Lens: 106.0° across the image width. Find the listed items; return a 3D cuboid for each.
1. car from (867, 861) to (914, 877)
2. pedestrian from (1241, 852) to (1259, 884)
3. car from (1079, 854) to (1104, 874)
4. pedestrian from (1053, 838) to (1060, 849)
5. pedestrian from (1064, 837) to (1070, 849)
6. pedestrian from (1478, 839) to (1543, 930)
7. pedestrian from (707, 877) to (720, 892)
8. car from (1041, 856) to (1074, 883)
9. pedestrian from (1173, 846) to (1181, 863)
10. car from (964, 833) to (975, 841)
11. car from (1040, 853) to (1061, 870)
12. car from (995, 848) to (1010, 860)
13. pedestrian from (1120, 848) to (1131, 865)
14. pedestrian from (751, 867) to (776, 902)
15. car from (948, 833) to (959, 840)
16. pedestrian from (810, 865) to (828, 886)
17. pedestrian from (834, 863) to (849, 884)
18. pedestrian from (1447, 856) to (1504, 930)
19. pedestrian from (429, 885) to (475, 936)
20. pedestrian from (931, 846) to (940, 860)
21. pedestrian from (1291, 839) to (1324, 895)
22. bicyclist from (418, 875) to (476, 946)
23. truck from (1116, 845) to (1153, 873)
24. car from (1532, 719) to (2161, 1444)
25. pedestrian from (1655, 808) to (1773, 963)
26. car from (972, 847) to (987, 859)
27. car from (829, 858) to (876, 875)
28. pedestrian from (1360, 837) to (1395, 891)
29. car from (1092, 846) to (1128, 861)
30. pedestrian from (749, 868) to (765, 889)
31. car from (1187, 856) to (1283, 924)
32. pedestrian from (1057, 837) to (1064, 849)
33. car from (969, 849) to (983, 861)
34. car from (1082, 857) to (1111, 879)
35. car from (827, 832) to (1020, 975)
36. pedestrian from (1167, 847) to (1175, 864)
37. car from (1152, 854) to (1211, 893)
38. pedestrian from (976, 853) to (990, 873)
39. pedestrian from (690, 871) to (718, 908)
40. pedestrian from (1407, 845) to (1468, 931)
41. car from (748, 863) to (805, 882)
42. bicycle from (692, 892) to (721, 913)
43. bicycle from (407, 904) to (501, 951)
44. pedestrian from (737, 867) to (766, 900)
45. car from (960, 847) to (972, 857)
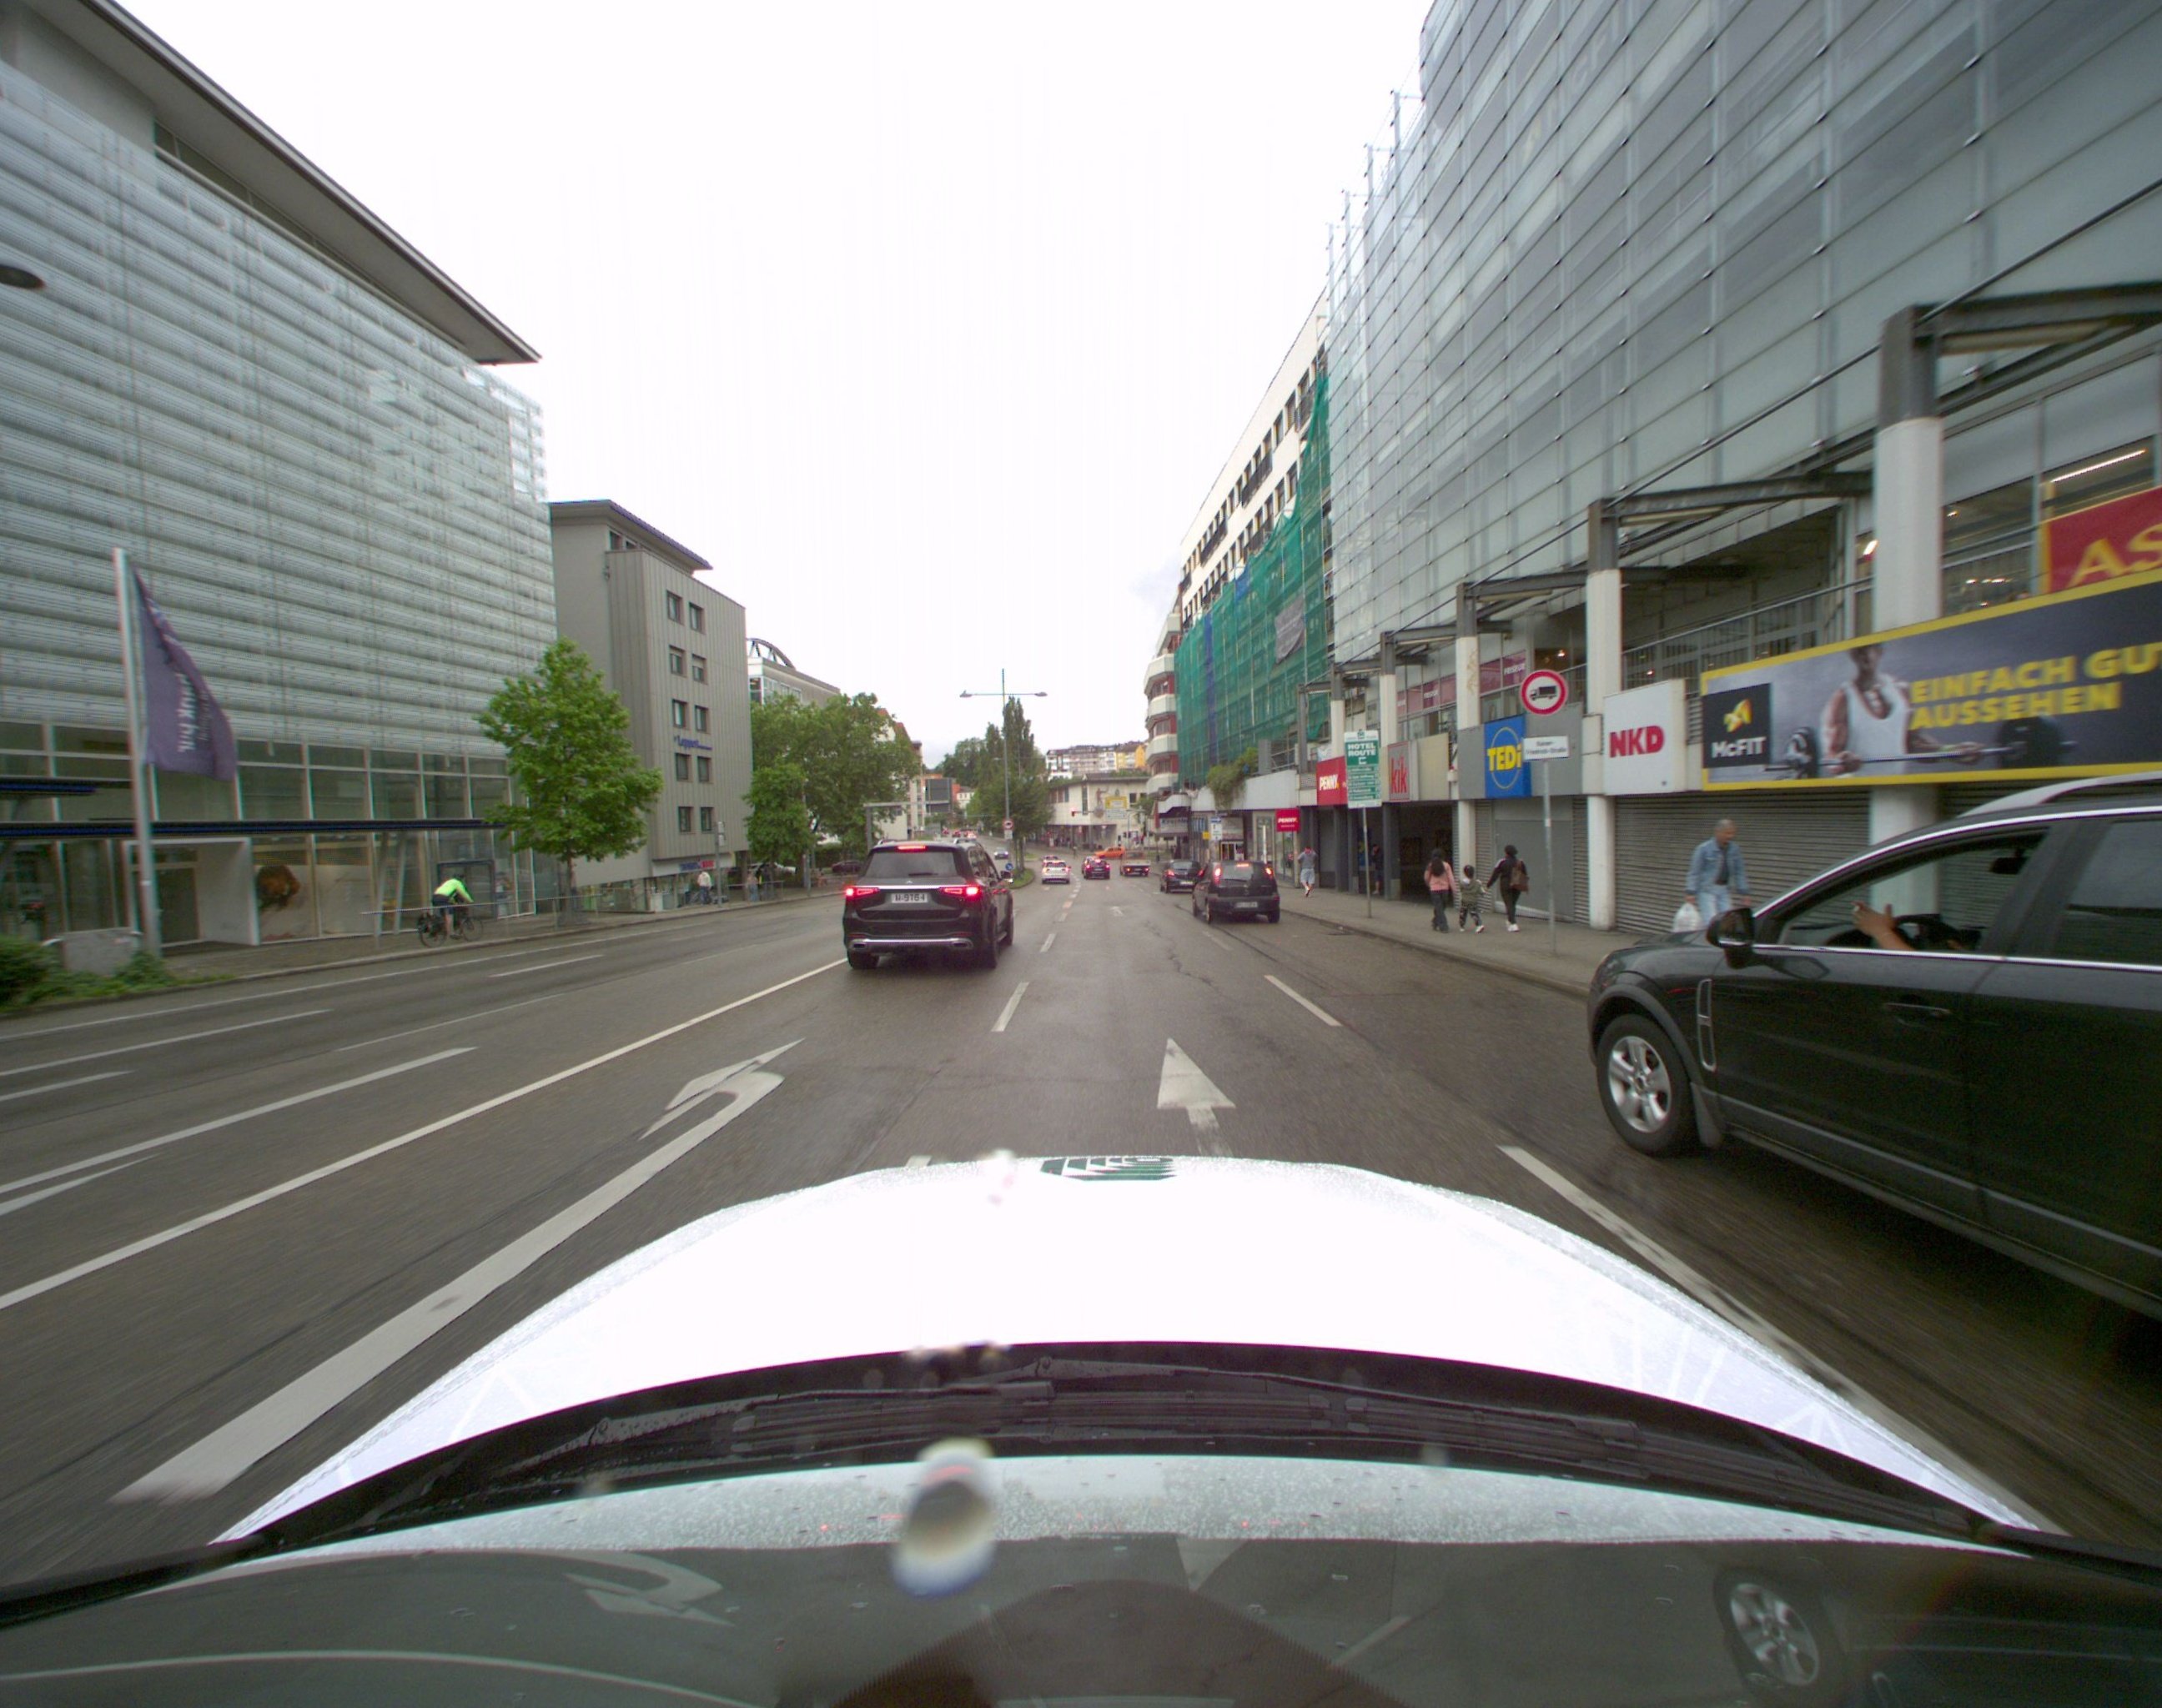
[{"bbox_3d":[-19.464,1.519,83.130,4.596,1.482,1.933,-1,0,-13],"label":"car"},{"bbox_3d":[8.826,0.744,42.614,0.635,1.649,0.566,-5,-2,41],"label":"pedestrian"},{"bbox_3d":[0.840,0.819,69.066,1.757,1.542,3.995,-2,1,-4],"label":"car"},{"bbox_3d":[-4.052,-1.754,133.373,0.800,1.802,0.913,-3,0,-15],"label":"pedestrian"},{"bbox_3d":[-2.224,-1.810,132.735,0.704,1.802,0.934,-3,0,-15],"label":"pedestrian"},{"bbox_3d":[7.269,0.507,13.810,0.766,1.467,0.707,-3,0,15],"label":"pedestrian"},{"bbox_3d":[-31.760,2.610,70.314,0.954,1.272,0.753,-3,0,-27],"label":"pedestrian"},{"bbox_3d":[-1.461,0.961,51.774,1.944,1.574,3.999,-2,0,-1],"label":"car"},{"bbox_3d":[10.030,0.074,84.822,0.577,1.699,0.647,-3,0,-15],"label":"pedestrian"},{"bbox_3d":[-25.141,-3.904,183.691,1.996,1.596,3.981,-2,0,-14],"label":"car"},{"bbox_3d":[-2.848,0.682,75.388,1.790,1.468,3.995,-2,0,-4],"label":"car"},{"bbox_3d":[-10.164,-0.009,105.613,1.817,1.549,3.993,-2,0,-5],"label":"car"},{"bbox_3d":[4.533,0.242,83.079,1.006,1.722,0.839,-3,0,4],"label":"pedestrian"},{"bbox_3d":[-16.164,1.532,41.453,0.815,1.713,1.310,-3,0,-7],"label":"pedestrian"},{"bbox_3d":[-32.468,-4.398,207.650,1.756,1.554,3.541,-2,0,-24],"label":"car"},{"bbox_3d":[-22.552,1.874,70.128,0.939,1.722,1.022,-3,2,33],"label":"pedestrian"},{"bbox_3d":[-21.303,1.736,72.556,0.940,1.722,0.764,-3,0,22],"label":"pedestrian"},{"bbox_3d":[6.790,0.661,14.044,0.686,1.207,0.555,-3,0,8],"label":"pedestrian"},{"bbox_3d":[-19.308,1.730,25.027,0.648,1.456,0.846,-3,0,6],"label":"pedestrian"},{"bbox_3d":[-19.526,-0.150,109.022,0.911,1.802,0.620,-3,0,-42],"label":"pedestrian"},{"bbox_3d":[7.299,0.406,26.233,0.831,1.722,0.831,-3,0,8],"label":"pedestrian"},{"bbox_3d":[-17.256,1.529,22.188,0.664,1.830,0.993,-4,-1,10],"label":"bicyclist"},{"bbox_3d":[4.251,0.412,65.469,2.179,2.082,5.595,-2,0,-4],"label":"truck"},{"bbox_3d":[3.615,0.517,2.734,1.900,1.785,4.304,-2,1,2],"label":"car"},{"bbox_3d":[7.382,0.361,9.529,0.831,1.722,0.619,-3,0,7],"label":"pedestrian"},{"bbox_3d":[-13.982,-0.097,112.190,1.777,1.549,3.987,-2,0,-10],"label":"car"},{"bbox_3d":[-23.784,1.316,84.953,4.691,1.643,1.777,-1,-1,-16],"label":"car"},{"bbox_3d":[9.783,0.315,26.907,0.669,1.715,0.815,-3,0,-12],"label":"pedestrian"},{"bbox_3d":[3.390,-0.074,96.338,3.994,1.616,1.770,-2,0,-8],"label":"car"},{"bbox_3d":[-27.602,2.088,69.388,0.752,1.722,0.955,-3,0,12],"label":"pedestrian"},{"bbox_3d":[3.601,0.782,19.603,1.710,1.420,3.772,-2,0,2],"label":"car"},{"bbox_3d":[-3.319,-1.779,132.236,0.848,1.802,1.051,-3,0,-15],"label":"pedestrian"},{"bbox_3d":[-13.519,0.148,104.553,1.705,1.451,3.850,-2,0,-8],"label":"car"},{"bbox_3d":[1.109,1.013,59.969,1.809,1.441,3.994,0,1,-5],"label":"car"},{"bbox_3d":[-2.191,0.622,12.776,2.081,1.817,4.792,0,0,0],"label":"car"},{"bbox_3d":[9.336,0.156,84.830,0.576,1.699,0.648,-3,0,-11],"label":"pedestrian"},{"bbox_3d":[4.356,0.800,35.865,1.945,1.574,3.996,-2,0,-2],"label":"car"},{"bbox_3d":[-9.481,0.868,78.610,1.058,1.882,0.840,-3,0,5],"label":"pedestrian"},{"bbox_3d":[-18.377,1.722,39.721,0.994,1.722,1.033,-3,0,-15],"label":"pedestrian"},{"bbox_3d":[6.277,0.591,14.368,0.742,1.437,0.598,-4,0,8],"label":"pedestrian"},{"bbox_3d":[-30.260,1.802,80.995,5.077,1.759,1.991,-1,0,-13],"label":"car"},{"bbox_3d":[-23.185,2.986,50.474,0.610,1.087,2.669,-2,0,-1],"label":"bicycle"},{"bbox_3d":[-17.189,1.990,22.394,0.674,1.099,2.077,-3,-1,11],"label":"bicycle"},{"bbox_3d":[-18.210,1.628,45.001,0.968,1.722,1.092,-3,0,6],"label":"pedestrian"},{"bbox_3d":[-18.751,-0.305,132.593,1.778,1.549,3.985,-2,0,-11],"label":"car"}]
